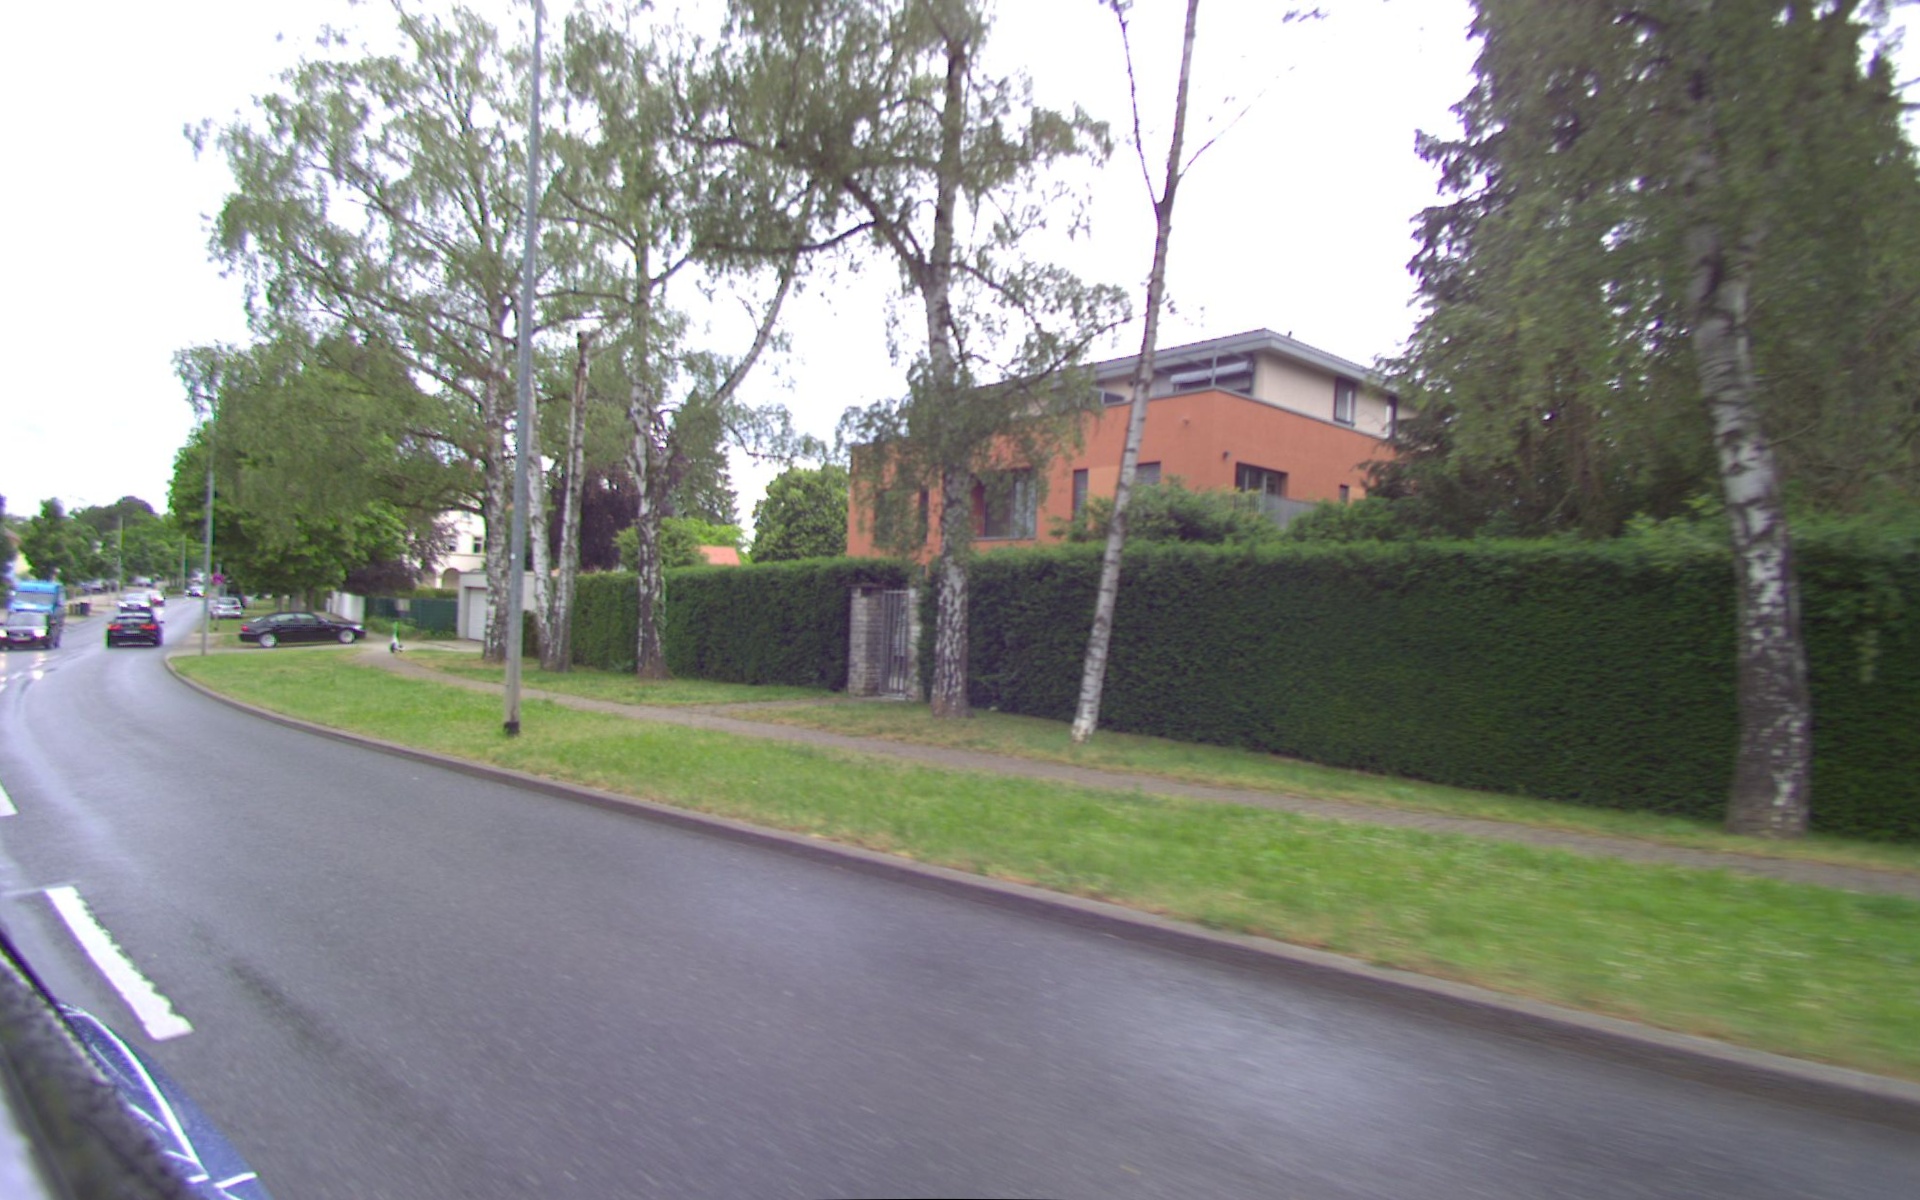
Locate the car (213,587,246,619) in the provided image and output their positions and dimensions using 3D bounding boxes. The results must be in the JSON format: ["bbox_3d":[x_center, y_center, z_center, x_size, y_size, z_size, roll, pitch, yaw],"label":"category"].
[{"bbox_3d":[-67.112,0.221,93.053,2.212,2.860,5.059,0,1,-33],"label":"car"}]

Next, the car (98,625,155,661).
[{"bbox_3d":[-36.464,1.851,44.259,1.733,1.452,4.162,0,-1,-42],"label":"car"}]

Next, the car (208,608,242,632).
[{"bbox_3d":[-53.608,1.467,73.901,1.747,1.619,4.011,2,-1,-33],"label":"car"}]

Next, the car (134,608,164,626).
[{"bbox_3d":[-75.135,1.562,93.839,1.865,1.552,4.010,0,0,-34],"label":"car"}]

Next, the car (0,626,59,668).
[{"bbox_3d":[-38.350,1.889,41.391,1.817,1.552,4.010,0,0,-35],"label":"car"}]

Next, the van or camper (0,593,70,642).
[{"bbox_3d":[-53.476,0.951,58.589,2.115,2.628,5.796,4,-2,-35],"label":"van or camper"}]

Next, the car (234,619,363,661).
[{"bbox_3d":[-27.284,1.628,41.794,4.369,1.428,1.760,-2,1,-36],"label":"car"}]

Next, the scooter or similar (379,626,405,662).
[{"bbox_3d":[-19.237,1.491,34.290,0.418,1.167,1.494,-1,-1,-16],"label":"scooter or similar"}]

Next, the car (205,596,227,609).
[{"bbox_3d":[-90.562,0.357,123.182,1.865,1.552,4.011,0,0,-32],"label":"car"}]

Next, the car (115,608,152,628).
[{"bbox_3d":[-64.529,1.375,79.043,1.865,1.552,4.010,0,0,-34],"label":"car"}]
